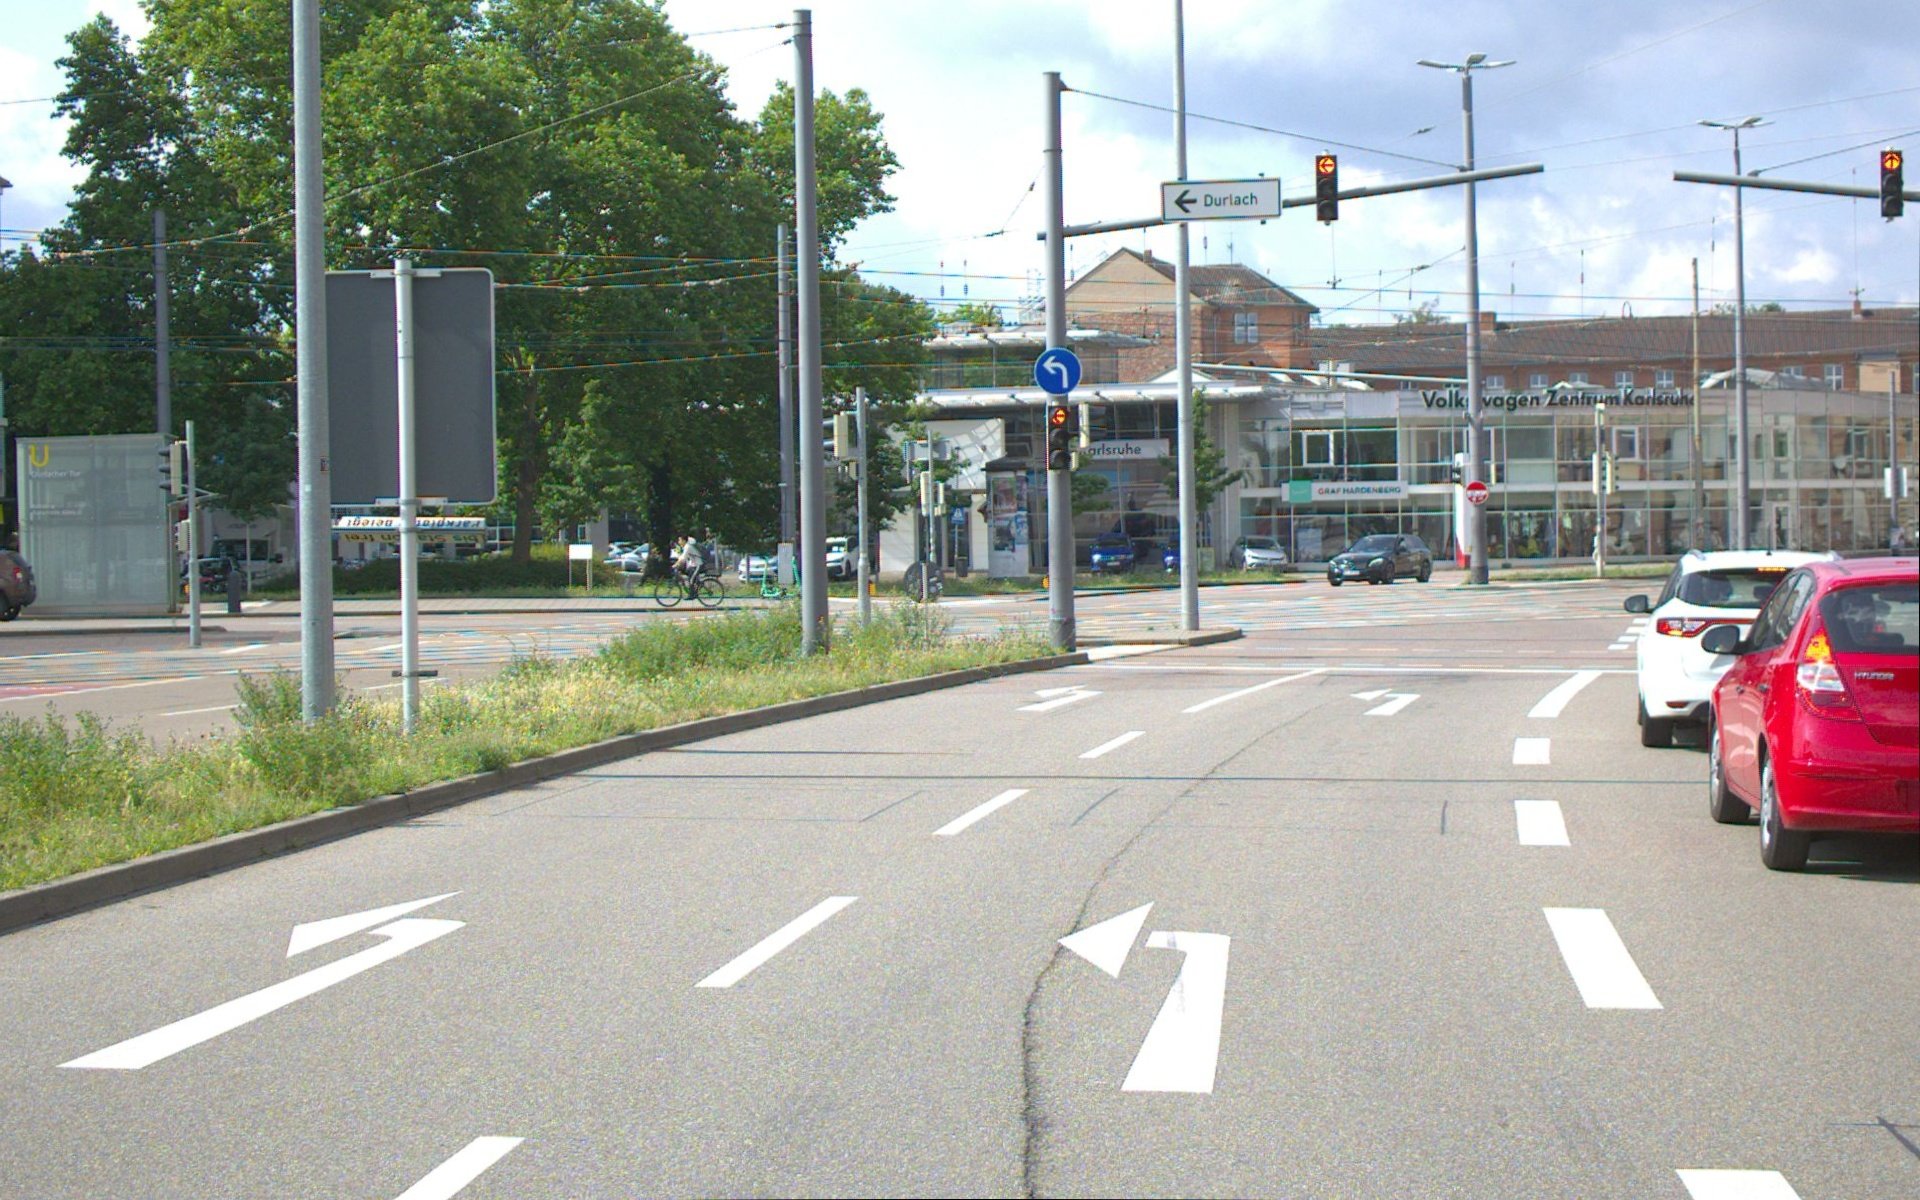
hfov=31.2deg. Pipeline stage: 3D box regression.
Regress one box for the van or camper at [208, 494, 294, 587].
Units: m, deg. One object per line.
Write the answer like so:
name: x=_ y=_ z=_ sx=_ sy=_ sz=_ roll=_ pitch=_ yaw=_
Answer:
van or camper: x=-22.865 y=-1.915 z=110.826 sx=2.580 sy=2.898 sz=6.101 roll=-1 pitch=1 yaw=-12

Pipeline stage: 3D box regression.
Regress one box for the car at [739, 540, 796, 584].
car: x=-7.914 y=-1.596 z=141.802 sx=1.798 sy=1.763 sz=3.999 roll=-1 pitch=1 yaw=5

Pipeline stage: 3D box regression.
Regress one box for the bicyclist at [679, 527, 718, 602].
bicyclist: x=-6.595 y=-0.894 z=86.641 sx=0.885 sy=1.864 sz=0.764 roll=-1 pitch=1 yaw=-11

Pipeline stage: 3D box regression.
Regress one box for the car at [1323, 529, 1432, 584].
car: x=12.108 y=-1.264 z=99.463 sx=1.996 sy=1.525 sz=3.995 roll=0 pitch=1 yaw=25

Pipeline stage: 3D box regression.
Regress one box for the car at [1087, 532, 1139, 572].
car: x=6.146 y=-1.926 z=137.764 sx=1.994 sy=1.546 sz=4.078 roll=-1 pitch=1 yaw=4

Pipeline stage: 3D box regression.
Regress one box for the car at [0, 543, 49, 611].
car: x=-22.777 y=-0.508 z=77.493 sx=4.067 sy=1.503 sz=1.814 roll=-1 pitch=1 yaw=-5

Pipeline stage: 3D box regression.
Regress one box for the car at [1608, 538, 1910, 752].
car: x=6.003 y=0.280 z=26.252 sx=1.848 sy=1.467 sz=4.334 roll=-1 pitch=1 yaw=8

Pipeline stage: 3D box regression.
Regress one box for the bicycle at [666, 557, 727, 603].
bicycle: x=-6.639 y=-0.509 z=86.656 sx=1.464 sy=1.113 sz=0.587 roll=-1 pitch=1 yaw=-11

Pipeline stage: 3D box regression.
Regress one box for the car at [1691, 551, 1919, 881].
car: x=4.775 y=0.488 z=17.155 sx=1.817 sy=1.434 sz=4.066 roll=0 pitch=1 yaw=7

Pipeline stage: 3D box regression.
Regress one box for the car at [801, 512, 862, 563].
car: x=-5.259 y=-2.560 z=141.002 sx=1.994 sy=2.007 sz=3.999 roll=-1 pitch=1 yaw=5

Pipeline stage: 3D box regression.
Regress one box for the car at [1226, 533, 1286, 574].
car: x=11.845 y=-1.882 z=137.892 sx=1.993 sy=1.590 sz=4.000 roll=-1 pitch=1 yaw=-1
